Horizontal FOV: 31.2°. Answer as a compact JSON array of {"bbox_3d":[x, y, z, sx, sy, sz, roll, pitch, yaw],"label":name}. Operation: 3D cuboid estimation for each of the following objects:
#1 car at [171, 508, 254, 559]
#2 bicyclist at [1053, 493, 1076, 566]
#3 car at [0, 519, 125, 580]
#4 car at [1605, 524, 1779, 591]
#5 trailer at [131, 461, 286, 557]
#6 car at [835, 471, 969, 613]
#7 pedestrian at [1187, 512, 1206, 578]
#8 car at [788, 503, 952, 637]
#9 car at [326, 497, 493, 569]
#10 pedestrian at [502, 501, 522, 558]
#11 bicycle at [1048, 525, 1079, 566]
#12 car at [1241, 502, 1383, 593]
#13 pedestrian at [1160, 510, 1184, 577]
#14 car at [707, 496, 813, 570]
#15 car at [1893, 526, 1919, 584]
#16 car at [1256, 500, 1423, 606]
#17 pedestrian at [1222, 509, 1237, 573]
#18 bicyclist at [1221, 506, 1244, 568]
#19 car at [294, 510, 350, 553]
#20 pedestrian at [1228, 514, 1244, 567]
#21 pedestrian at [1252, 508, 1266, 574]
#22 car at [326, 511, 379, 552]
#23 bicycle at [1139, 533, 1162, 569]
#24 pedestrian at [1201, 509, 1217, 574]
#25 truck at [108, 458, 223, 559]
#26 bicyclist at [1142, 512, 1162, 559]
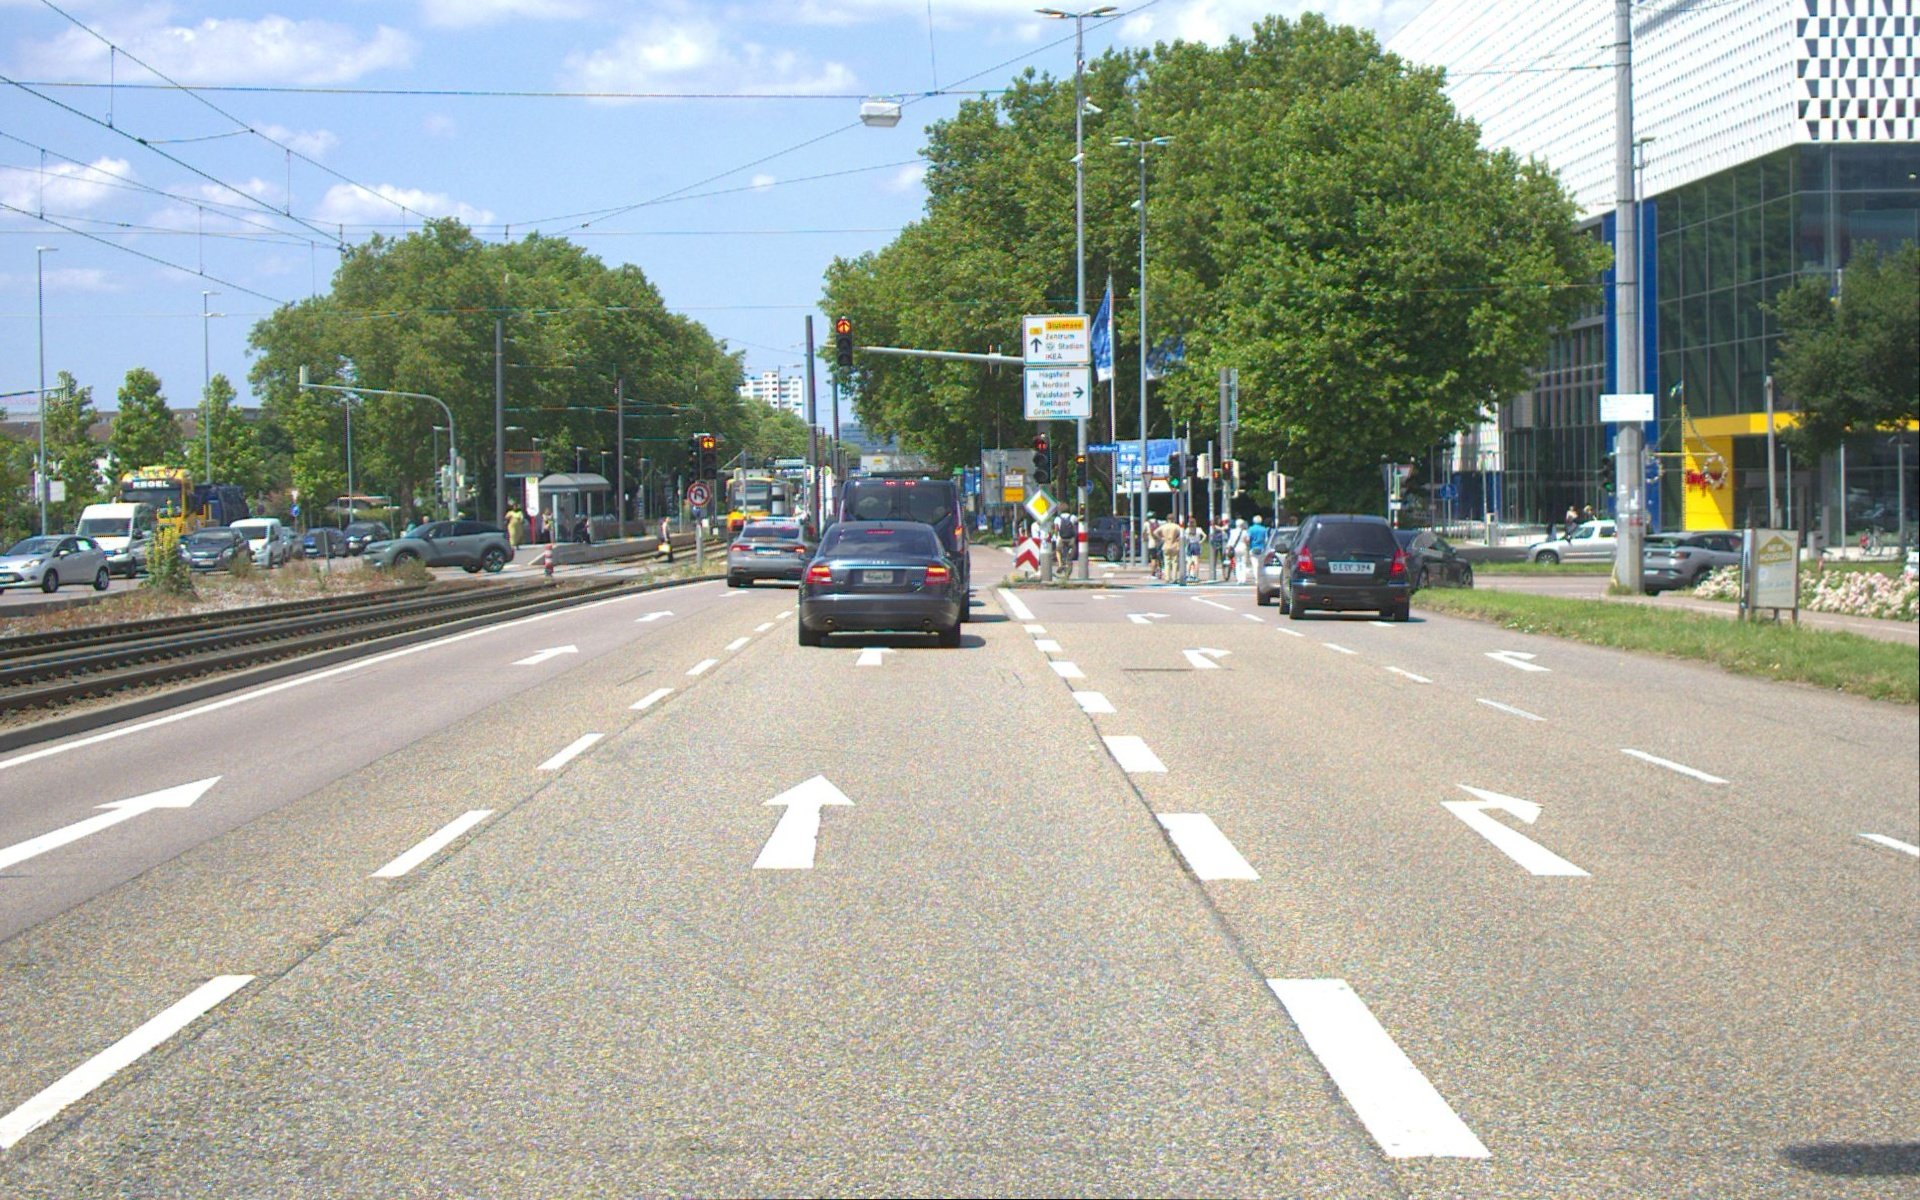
[{"bbox_3d":[-25.324,-2.274,116.588,1.822,1.664,4.462,1,2,0],"label":"car"},{"bbox_3d":[2.595,-1.755,85.419,0.528,1.783,1.088,0,1,0],"label":"bicyclist"},{"bbox_3d":[-22.843,-1.267,86.566,1.823,1.411,3.881,-2,2,16],"label":"car"},{"bbox_3d":[17.488,-1.011,82.061,4.134,1.481,1.999,0,2,-42],"label":"car"},{"bbox_3d":[-29.105,-3.529,133.999,2.767,3.506,15.880,1,1,-1],"label":"trailer"},{"bbox_3d":[-0.833,-0.870,49.467,1.836,1.943,4.001,0,2,-1],"label":"car"},{"bbox_3d":[5.866,-1.368,85.248,0.445,1.629,0.430,1,1,3],"label":"pedestrian"},{"bbox_3d":[-1.006,-0.386,39.873,1.792,1.450,4.000,-1,2,0],"label":"car"},{"bbox_3d":[-15.779,-1.930,98.536,4.395,1.911,2.001,1,2,-20],"label":"car"},{"bbox_3d":[-15.658,-2.458,120.187,0.685,2.007,0.573,0,1,-4],"label":"pedestrian"},{"bbox_3d":[2.589,-1.363,86.060,0.688,0.990,2.752,1,1,0],"label":"bicycle"},{"bbox_3d":[6.145,-0.958,60.490,1.993,1.481,4.167,2,2,0],"label":"car"},{"bbox_3d":[5.257,-1.401,85.246,0.554,1.629,0.433,1,1,3],"label":"pedestrian"},{"bbox_3d":[-4.215,-1.443,72.914,1.993,1.481,4.000,2,2,0],"label":"car"},{"bbox_3d":[27.198,-1.135,91.014,4.374,1.481,2.001,1,2,-16],"label":"car"},{"bbox_3d":[5.672,-0.742,51.805,1.993,1.481,4.000,2,2,0],"label":"car"},{"bbox_3d":[6.845,-1.496,87.385,0.339,1.629,0.377,1,1,3],"label":"pedestrian"},{"bbox_3d":[7.732,-1.785,97.609,0.529,1.758,0.827,1,1,13],"label":"bicyclist"},{"bbox_3d":[-28.714,-3.093,154.778,1.817,1.876,4.000,1,1,-1],"label":"car"},{"bbox_3d":[6.854,-1.475,85.283,0.372,1.299,0.365,1,1,3],"label":"pedestrian"},{"bbox_3d":[7.413,-1.454,85.263,0.320,1.629,0.377,1,1,3],"label":"pedestrian"},{"bbox_3d":[-28.723,-3.256,162.585,1.817,1.876,4.000,1,1,-1],"label":"car"},{"bbox_3d":[4.834,-1.245,87.134,0.550,0.874,1.697,1,1,3],"label":"bicycle"},{"bbox_3d":[6.339,-1.485,87.464,0.381,1.629,0.377,1,1,3],"label":"pedestrian"},{"bbox_3d":[-28.995,-3.335,125.747,2.767,3.557,6.440,1,1,-1],"label":"truck"},{"bbox_3d":[4.892,-1.642,87.617,0.470,1.189,0.791,0,1,2],"label":"bicyclist"}]
